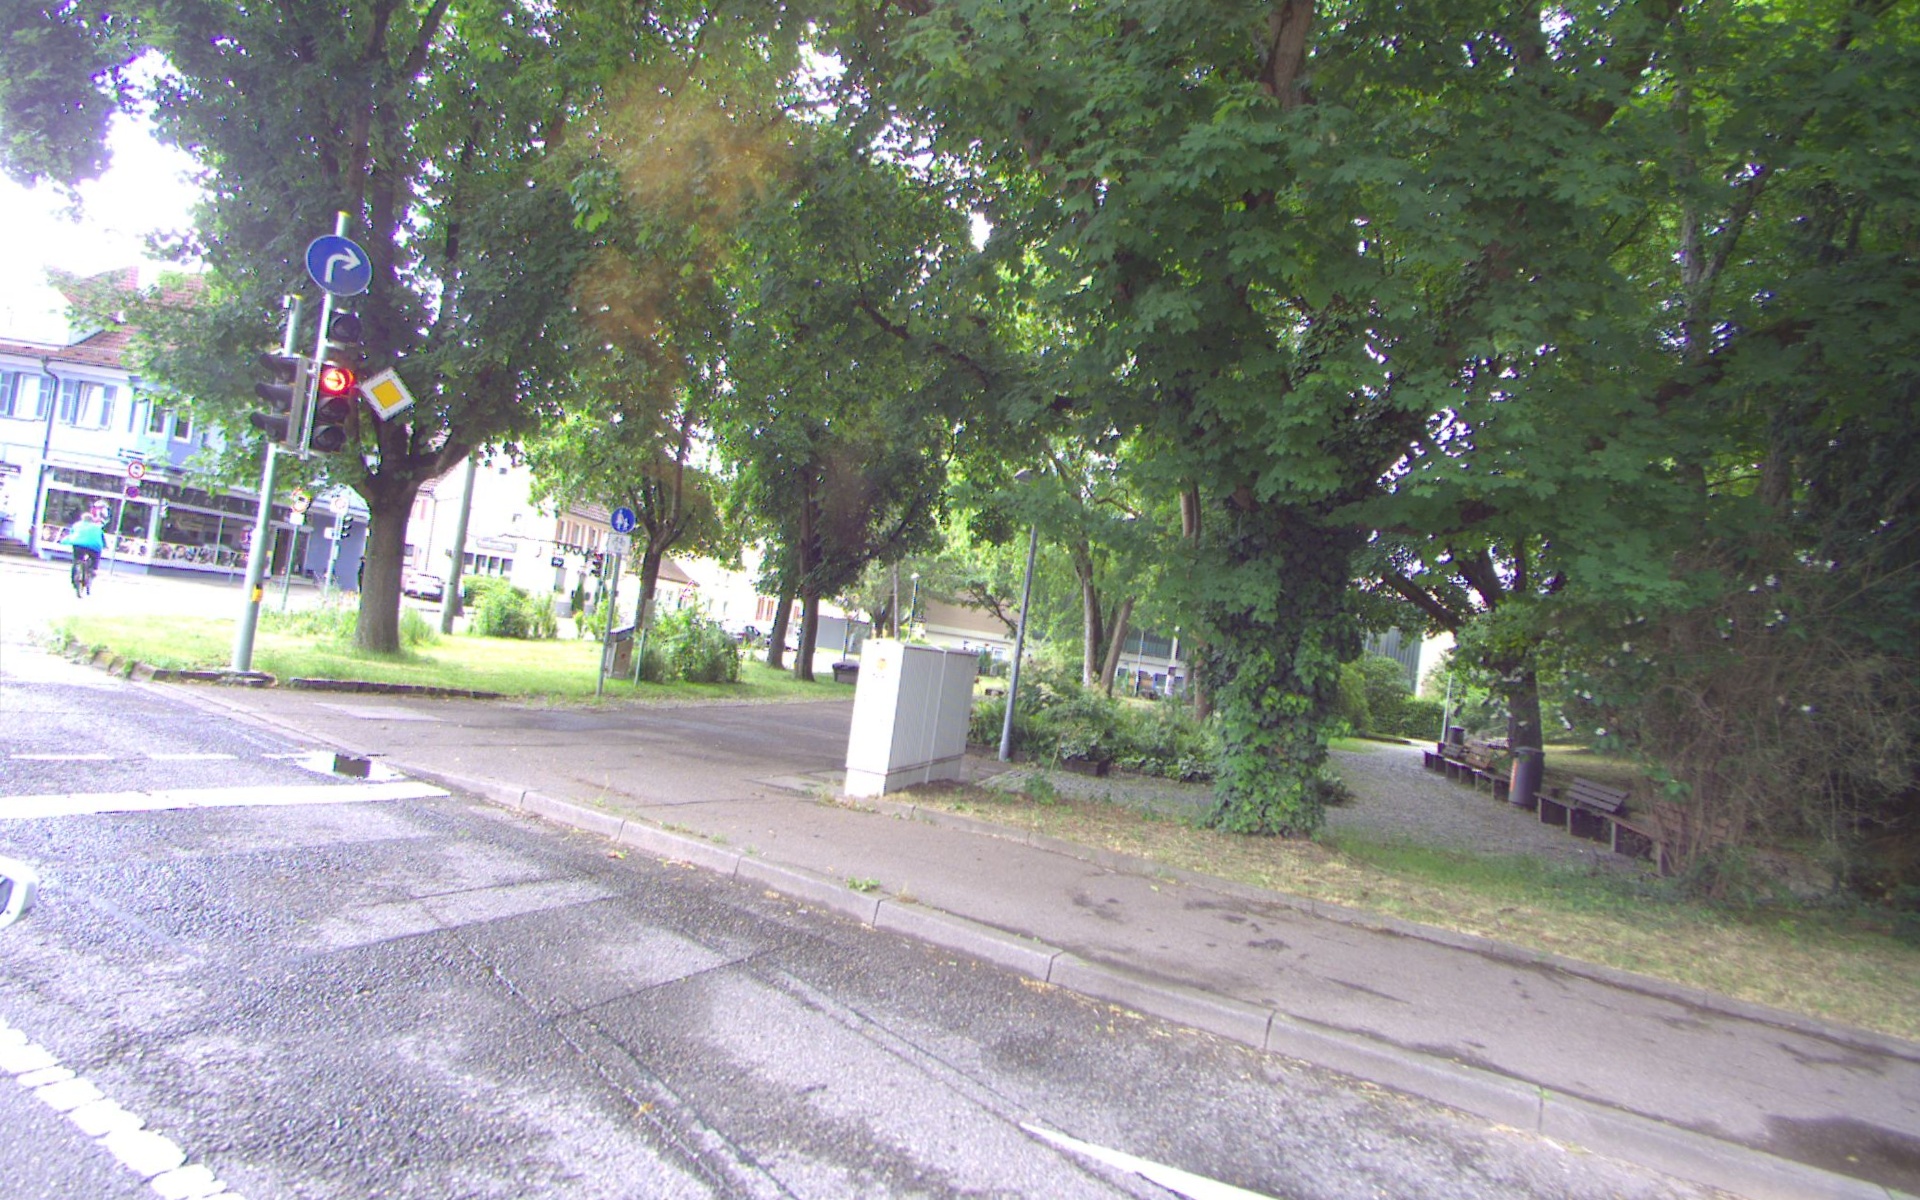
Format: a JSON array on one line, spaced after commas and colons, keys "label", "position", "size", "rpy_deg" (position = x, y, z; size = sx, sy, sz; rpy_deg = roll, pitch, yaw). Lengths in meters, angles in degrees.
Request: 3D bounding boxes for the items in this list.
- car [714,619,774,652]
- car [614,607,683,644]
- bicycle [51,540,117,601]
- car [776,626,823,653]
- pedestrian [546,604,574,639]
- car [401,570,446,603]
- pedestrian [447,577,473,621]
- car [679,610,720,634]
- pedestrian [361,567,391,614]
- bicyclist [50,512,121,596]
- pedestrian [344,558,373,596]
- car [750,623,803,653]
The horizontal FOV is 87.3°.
[{"label": "car", "position": [-11.758, 1.980, 54.980], "size": [1.618, 1.474, 3.740], "rpy_deg": [7, -2, 13]}, {"label": "car", "position": [-13.585, 1.140, 44.044], "size": [1.436, 1.282, 3.014], "rpy_deg": [7, -2, 13]}, {"label": "bicycle", "position": [-19.147, -0.653, 22.034], "size": [0.870, 1.162, 1.932], "rpy_deg": [9, -2, -38]}, {"label": "car", "position": [-10.483, 2.621, 66.087], "size": [1.618, 1.474, 3.740], "rpy_deg": [7, -2, 13]}, {"label": "pedestrian", "position": [-13.169, 0.707, 33.125], "size": [0.506, 1.093, 0.507], "rpy_deg": [7, -1, 17]}, {"label": "car", "position": [-28.364, -0.745, 53.186], "size": [1.870, 1.406, 3.589], "rpy_deg": [9, -2, -28]}, {"label": "pedestrian", "position": [-19.210, -0.038, 38.655], "size": [0.688, 1.578, 0.662], "rpy_deg": [8, -1, -27]}, {"label": "car", "position": [-19.239, 1.642, 74.484], "size": [1.736, 1.463, 3.865], "rpy_deg": [7, -2, 2]}, {"label": "pedestrian", "position": [-21.118, -0.341, 36.400], "size": [0.725, 1.578, 0.763], "rpy_deg": [8, -1, -27]}, {"label": "bicyclist", "position": [-19.044, -0.991, 21.936], "size": [0.911, 1.670, 0.979], "rpy_deg": [8, -2, -37]}, {"label": "pedestrian", "position": [-27.195, -1.054, 45.483], "size": [0.732, 1.578, 0.673], "rpy_deg": [7, -1, 17]}, {"label": "car", "position": [-10.901, 2.304, 59.955], "size": [1.618, 1.474, 3.740], "rpy_deg": [7, -2, 13]}]
